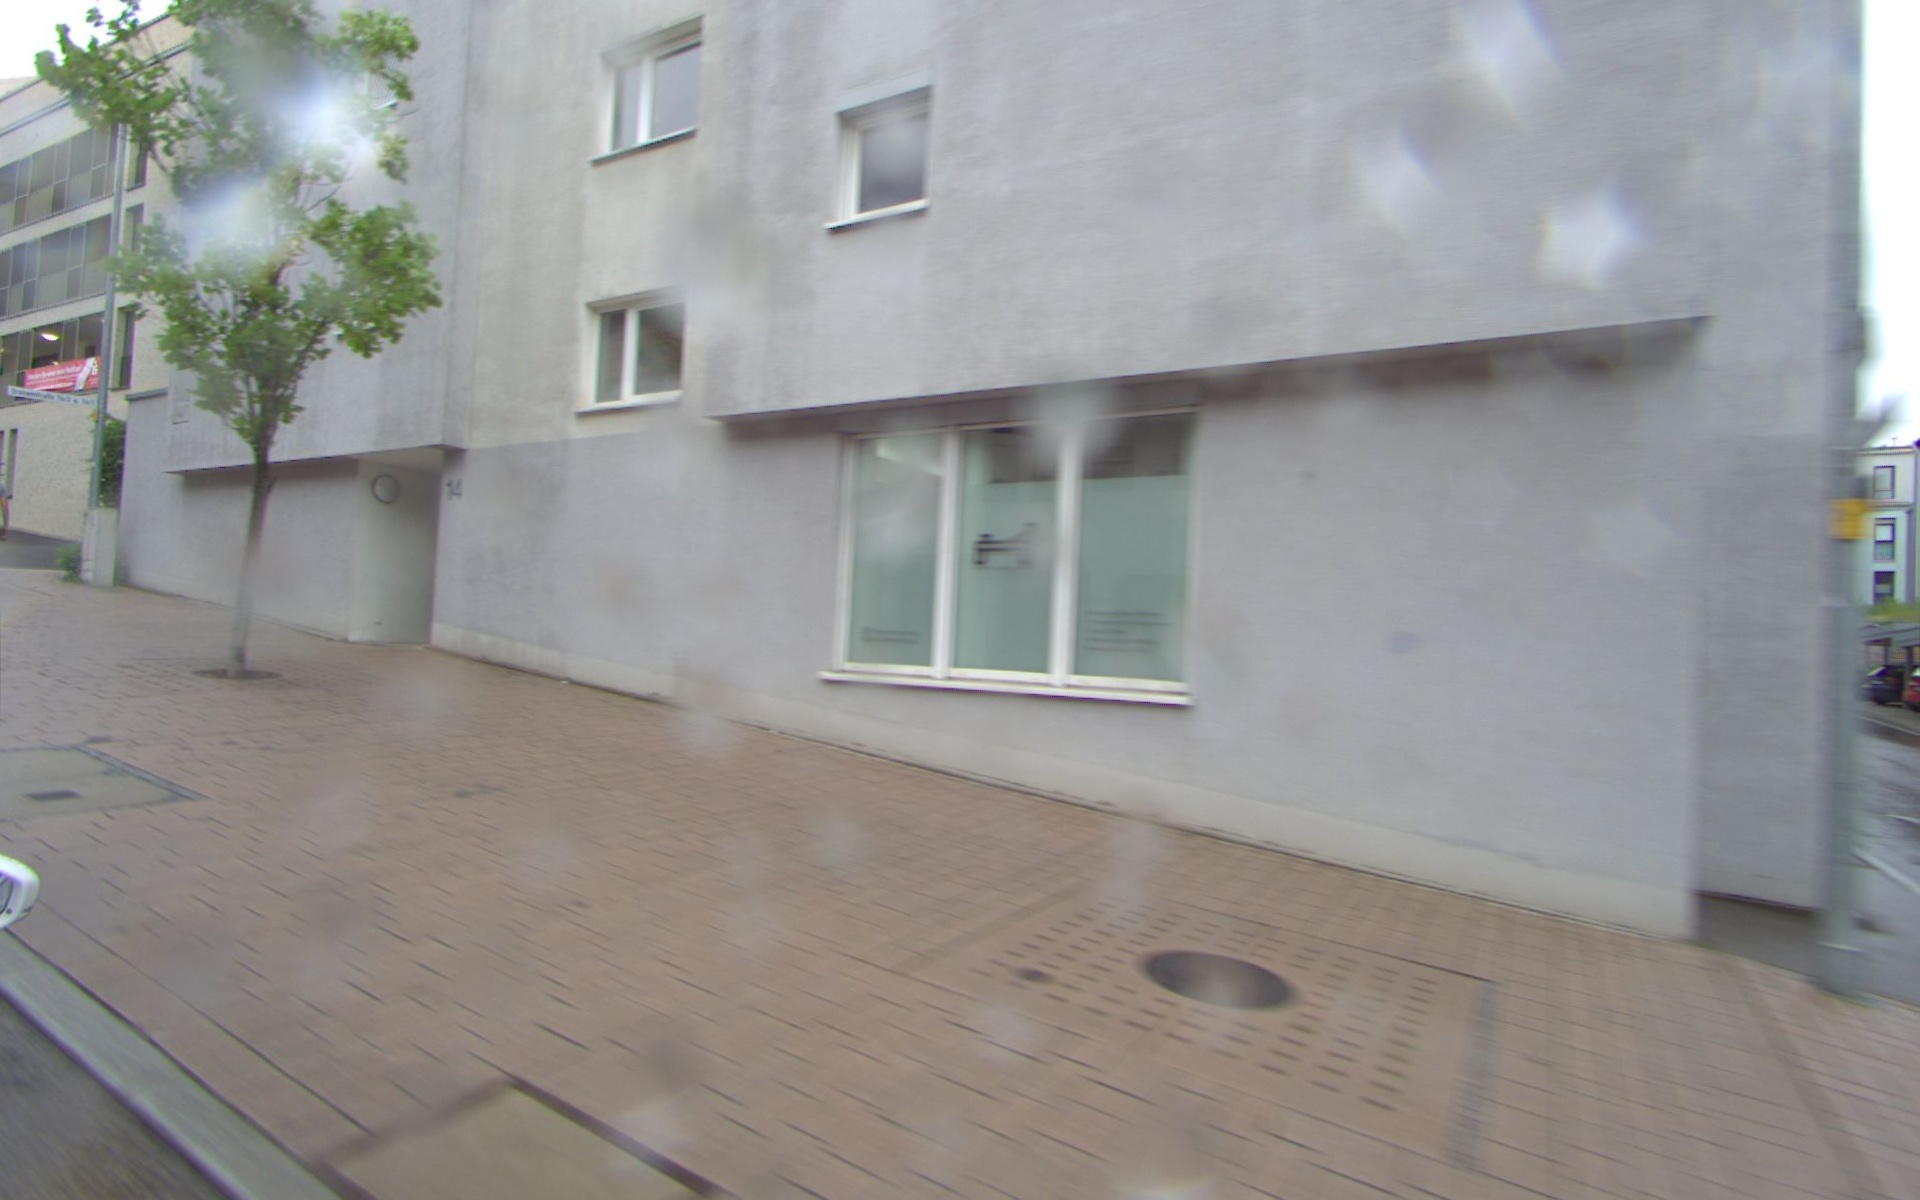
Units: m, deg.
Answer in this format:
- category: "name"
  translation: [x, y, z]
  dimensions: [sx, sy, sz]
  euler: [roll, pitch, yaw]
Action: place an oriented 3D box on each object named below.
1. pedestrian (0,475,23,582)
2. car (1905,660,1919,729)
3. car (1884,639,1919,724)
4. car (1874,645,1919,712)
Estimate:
- category: "pedestrian"
  translation: [-14.535, -1.098, 14.891]
  dimensions: [1.021, 1.563, 0.735]
  euler: [7, 3, 34]
- category: "car"
  translation: [27.232, 2.693, 26.193]
  dimensions: [3.417, 1.839, 1.521]
  euler: [7, -1, 32]
- category: "car"
  translation: [28.519, 2.480, 28.199]
  dimensions: [3.417, 2.313, 1.521]
  euler: [7, -1, 32]
- category: "car"
  translation: [32.324, 2.718, 32.275]
  dimensions: [4.071, 2.038, 1.823]
  euler: [6, -1, 36]
